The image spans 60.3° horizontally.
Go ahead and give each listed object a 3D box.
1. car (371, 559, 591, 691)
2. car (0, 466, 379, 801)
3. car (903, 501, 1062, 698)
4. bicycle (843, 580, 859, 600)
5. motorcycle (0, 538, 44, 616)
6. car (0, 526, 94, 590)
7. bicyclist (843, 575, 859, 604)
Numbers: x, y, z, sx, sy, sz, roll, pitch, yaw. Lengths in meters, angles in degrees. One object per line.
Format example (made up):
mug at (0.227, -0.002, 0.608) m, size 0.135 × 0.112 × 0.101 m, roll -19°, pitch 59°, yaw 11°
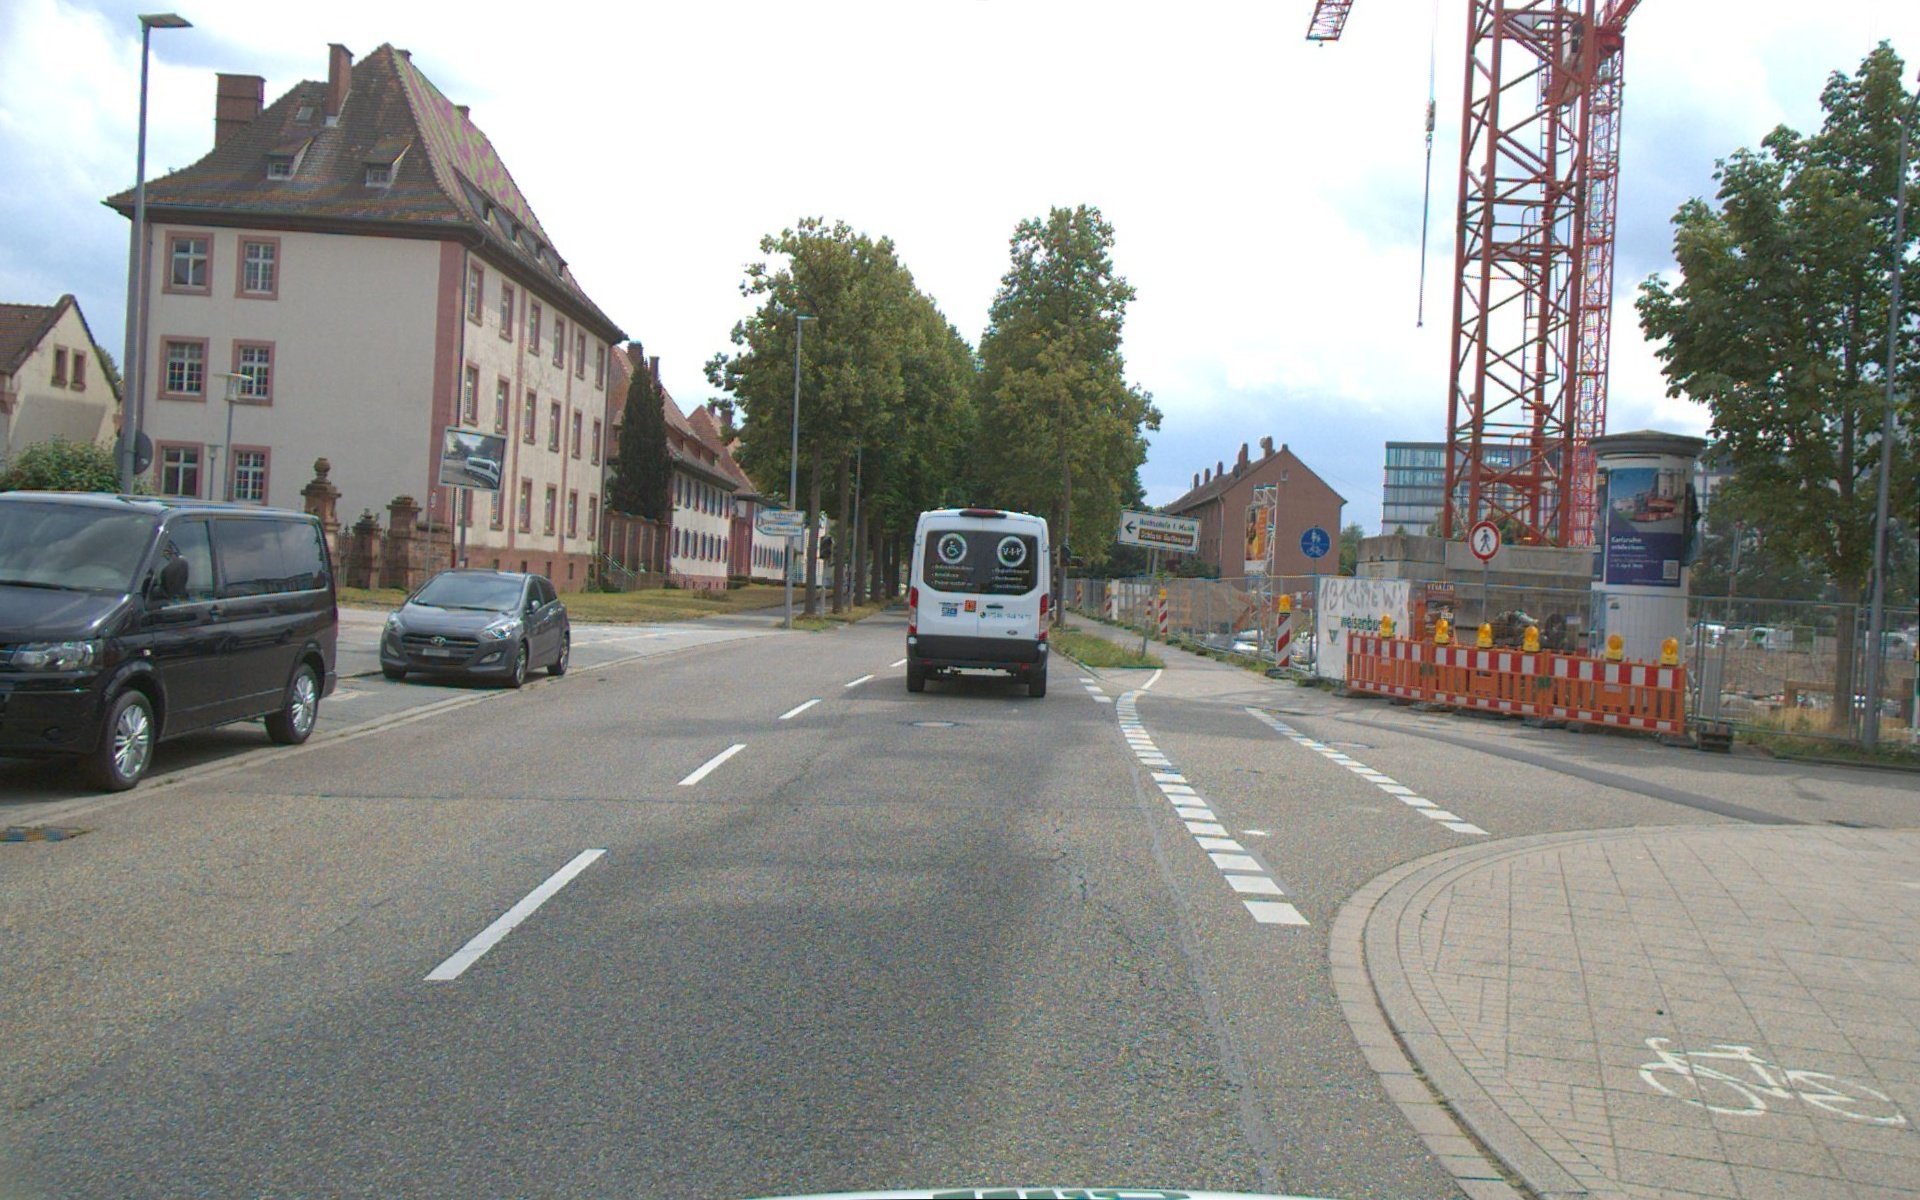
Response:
car at (-6.484, 0.295, 22.887) m, size 1.786 × 1.498 × 4.296 m, roll 5°, pitch 0°, yaw -2°
car at (-6.321, 0.140, 12.721) m, size 1.909 × 2.038 × 4.843 m, roll 4°, pitch 0°, yaw -1°
car at (0.236, 0.001, 24.162) m, size 2.021 × 2.584 × 3.998 m, roll 1°, pitch 0°, yaw -3°
bicycle at (-6.712, -0.628, 101.669) m, size 0.708 × 1.113 × 2.151 m, roll 7°, pitch 0°, yaw 0°
motorcycle at (-15.073, -0.364, 25.019) m, size 2.046 × 1.162 × 0.725 m, roll 1°, pitch 0°, yaw 4°
car at (-27.448, -1.268, 48.818) m, size 1.730 × 1.740 × 3.698 m, roll 3°, pitch 3°, yaw 2°
bicyclist at (-6.719, -0.642, 101.686) m, size 0.708 × 1.684 × 0.958 m, roll 7°, pitch 0°, yaw 0°
